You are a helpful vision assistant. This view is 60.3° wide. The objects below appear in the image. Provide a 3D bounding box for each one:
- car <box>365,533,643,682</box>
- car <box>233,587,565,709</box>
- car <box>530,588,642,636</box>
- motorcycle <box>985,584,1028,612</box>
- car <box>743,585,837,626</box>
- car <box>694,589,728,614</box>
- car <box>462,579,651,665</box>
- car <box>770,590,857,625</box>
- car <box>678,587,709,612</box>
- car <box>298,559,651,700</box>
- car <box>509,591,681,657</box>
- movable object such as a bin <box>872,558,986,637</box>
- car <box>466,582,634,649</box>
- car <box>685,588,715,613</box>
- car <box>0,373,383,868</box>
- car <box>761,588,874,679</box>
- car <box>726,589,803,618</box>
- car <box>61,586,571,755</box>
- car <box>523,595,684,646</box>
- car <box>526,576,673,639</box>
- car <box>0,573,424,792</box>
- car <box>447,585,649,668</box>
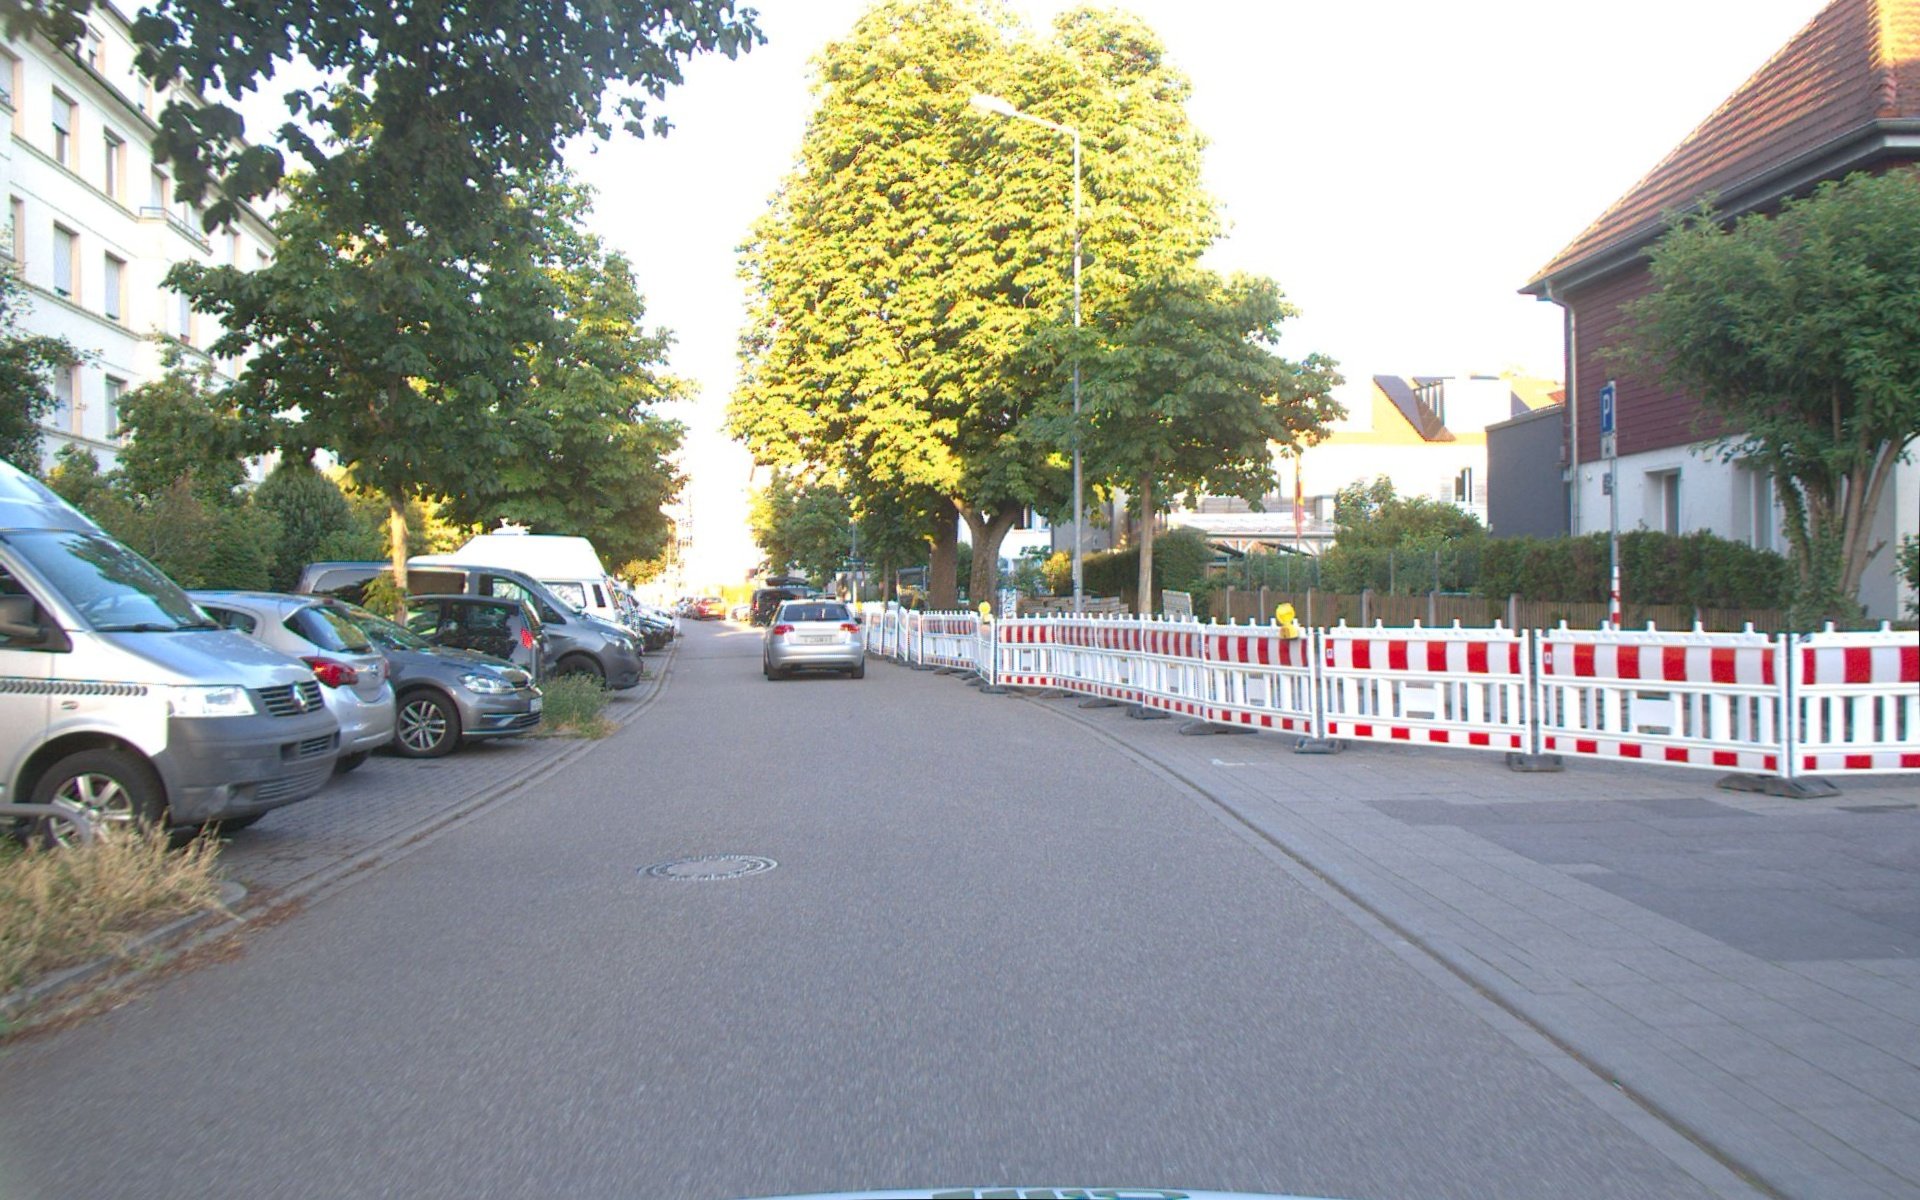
[{"bbox_3d":[-7.815,0.107,28.777,4.418,2.473,1.996,0,0,-8],"label":"car"},{"bbox_3d":[-7.008,0.582,20.979,3.697,1.464,1.653,0,0,-7],"label":"car"},{"bbox_3d":[-11.921,0.372,52.847,3.351,1.509,1.755,0,0,-9],"label":"car"},{"bbox_3d":[1.890,-0.080,67.560,1.828,1.125,0.573,0,1,-38],"label":"motorcycle"},{"bbox_3d":[-8.725,0.252,84.985,4.487,2.058,2.090,0,0,-19],"label":"car"},{"bbox_3d":[-15.356,0.070,101.899,1.701,1.509,3.544,0,1,-15],"label":"car"},{"bbox_3d":[-8.717,0.448,35.996,3.787,1.808,1.840,0,0,-7],"label":"car"},{"bbox_3d":[-7.141,0.343,80.505,3.930,1.680,1.754,0,1,-21],"label":"car"},{"bbox_3d":[-18.032,-0.039,111.870,1.778,1.641,3.567,0,1,-15],"label":"car"},{"bbox_3d":[-6.812,0.377,23.693,4.586,1.906,1.996,0,0,-9],"label":"car"},{"bbox_3d":[-9.608,0.601,43.566,4.332,1.643,1.893,0,0,-14],"label":"car"},{"bbox_3d":[-1.097,-0.097,54.134,2.585,2.444,5.176,0,1,-15],"label":"movable object such as a bin"},{"bbox_3d":[-10.141,0.366,41.143,3.913,1.611,1.727,0,0,-9],"label":"car"},{"bbox_3d":[-16.851,0.008,107.160,1.636,1.601,3.427,0,1,-15],"label":"car"},{"bbox_3d":[-6.063,0.099,9.716,4.635,2.614,2.000,0,0,-1],"label":"car"},{"bbox_3d":[-2.686,0.559,30.467,1.774,1.514,3.992,-1,1,-9],"label":"car"},{"bbox_3d":[-11.187,0.199,94.738,4.090,1.599,1.786,0,1,-21],"label":"car"},{"bbox_3d":[-6.001,0.636,15.785,4.159,1.418,1.683,2,0,-3],"label":"car"},{"bbox_3d":[-10.796,0.598,50.331,4.686,1.496,1.876,0,0,-11],"label":"car"},{"bbox_3d":[-11.994,0.233,55.285,4.686,2.049,1.995,0,0,-11],"label":"car"},{"bbox_3d":[-6.345,0.601,12.983,3.729,1.549,1.651,1,0,-5],"label":"car"},{"bbox_3d":[-8.330,0.507,33.726,3.787,1.622,1.783,0,0,-7],"label":"car"}]
